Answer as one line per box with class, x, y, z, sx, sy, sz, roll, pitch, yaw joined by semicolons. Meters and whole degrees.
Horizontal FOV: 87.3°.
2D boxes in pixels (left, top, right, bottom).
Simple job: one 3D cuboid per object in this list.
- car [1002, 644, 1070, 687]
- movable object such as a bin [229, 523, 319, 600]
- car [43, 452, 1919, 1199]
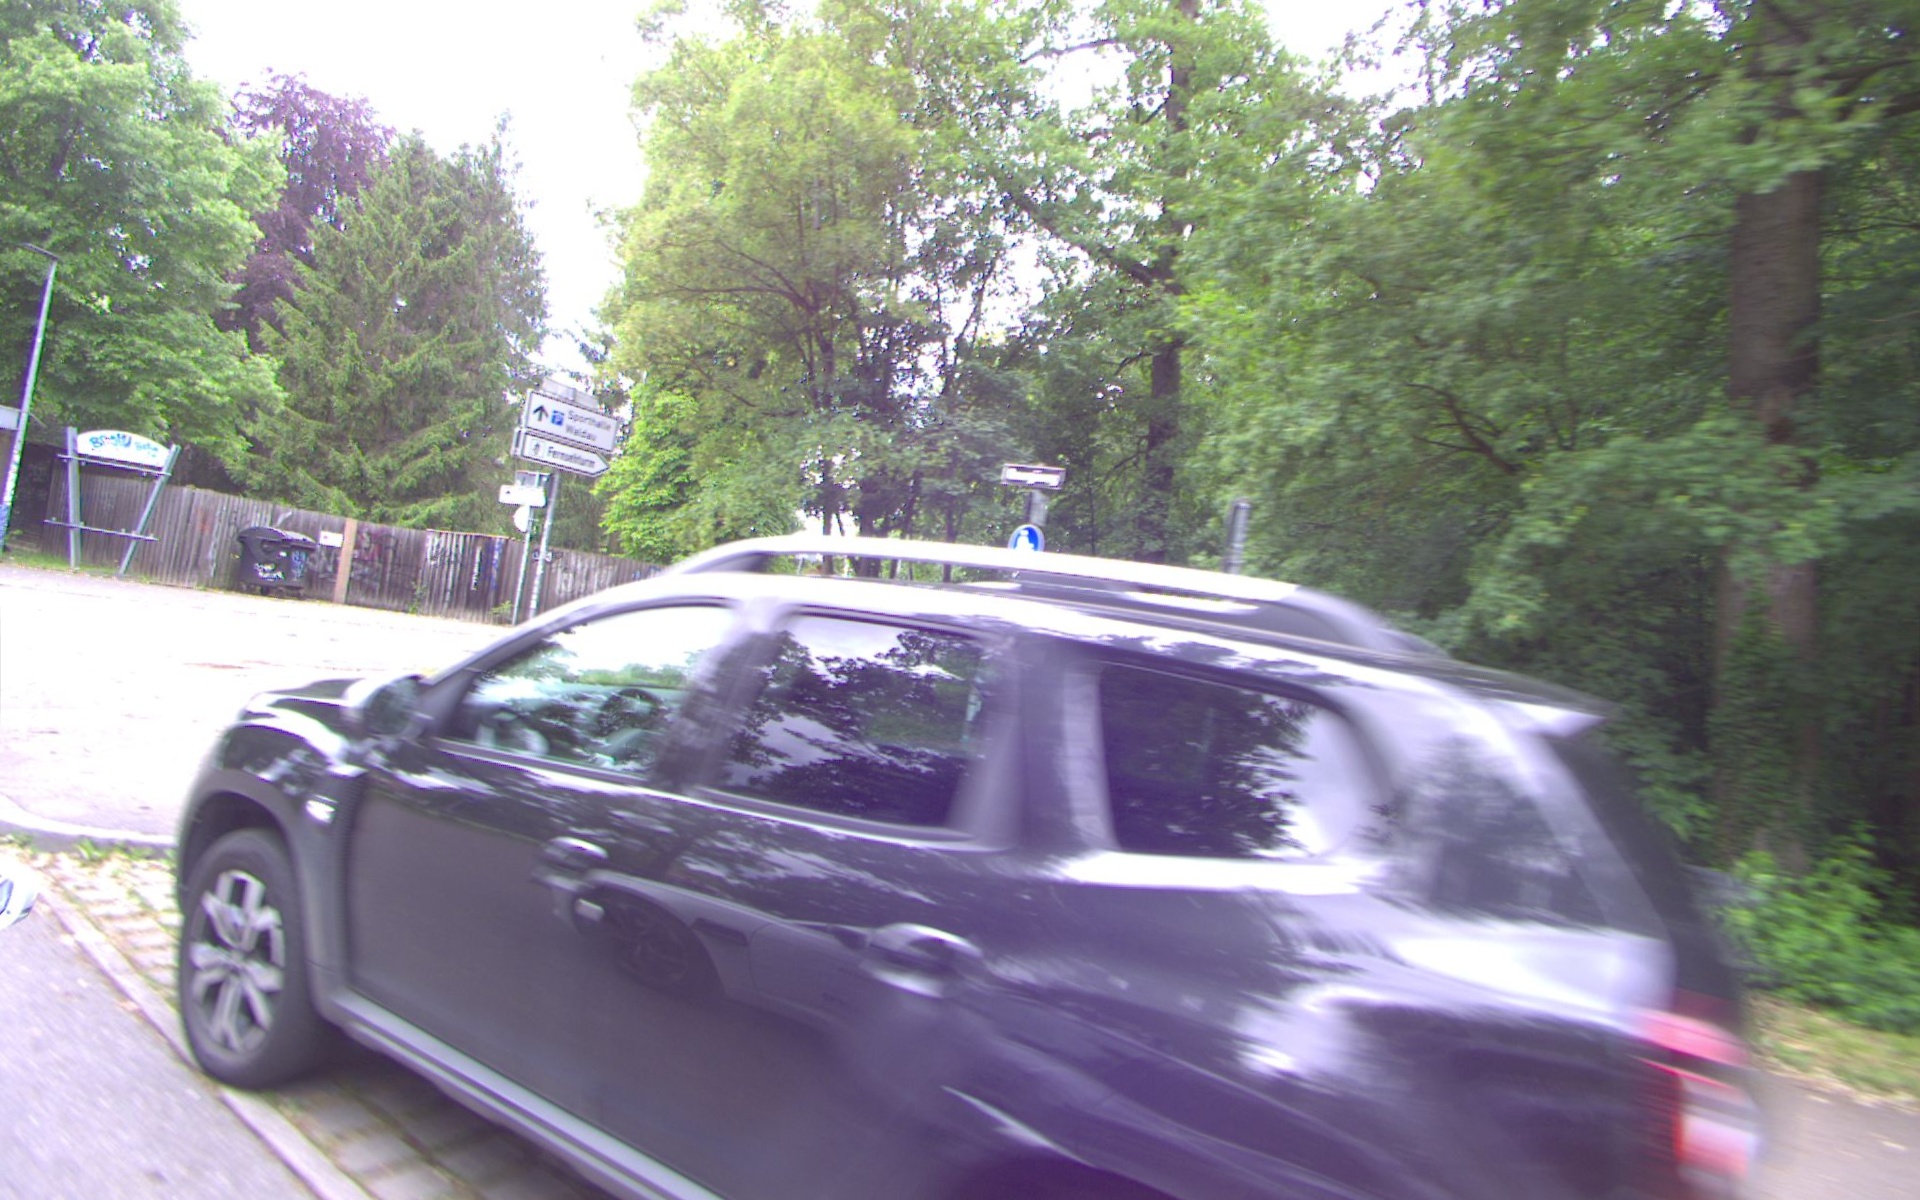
car;3.587;3.043;46.499;1.879;1.524;4.004;11;-1;21
movable object such as a bin;-14.731;-0.803;21.650;1.062;1.459;1.283;8;-2;-14
car;-0.533;0.660;2.853;4.301;1.652;1.740;7;-2;31
